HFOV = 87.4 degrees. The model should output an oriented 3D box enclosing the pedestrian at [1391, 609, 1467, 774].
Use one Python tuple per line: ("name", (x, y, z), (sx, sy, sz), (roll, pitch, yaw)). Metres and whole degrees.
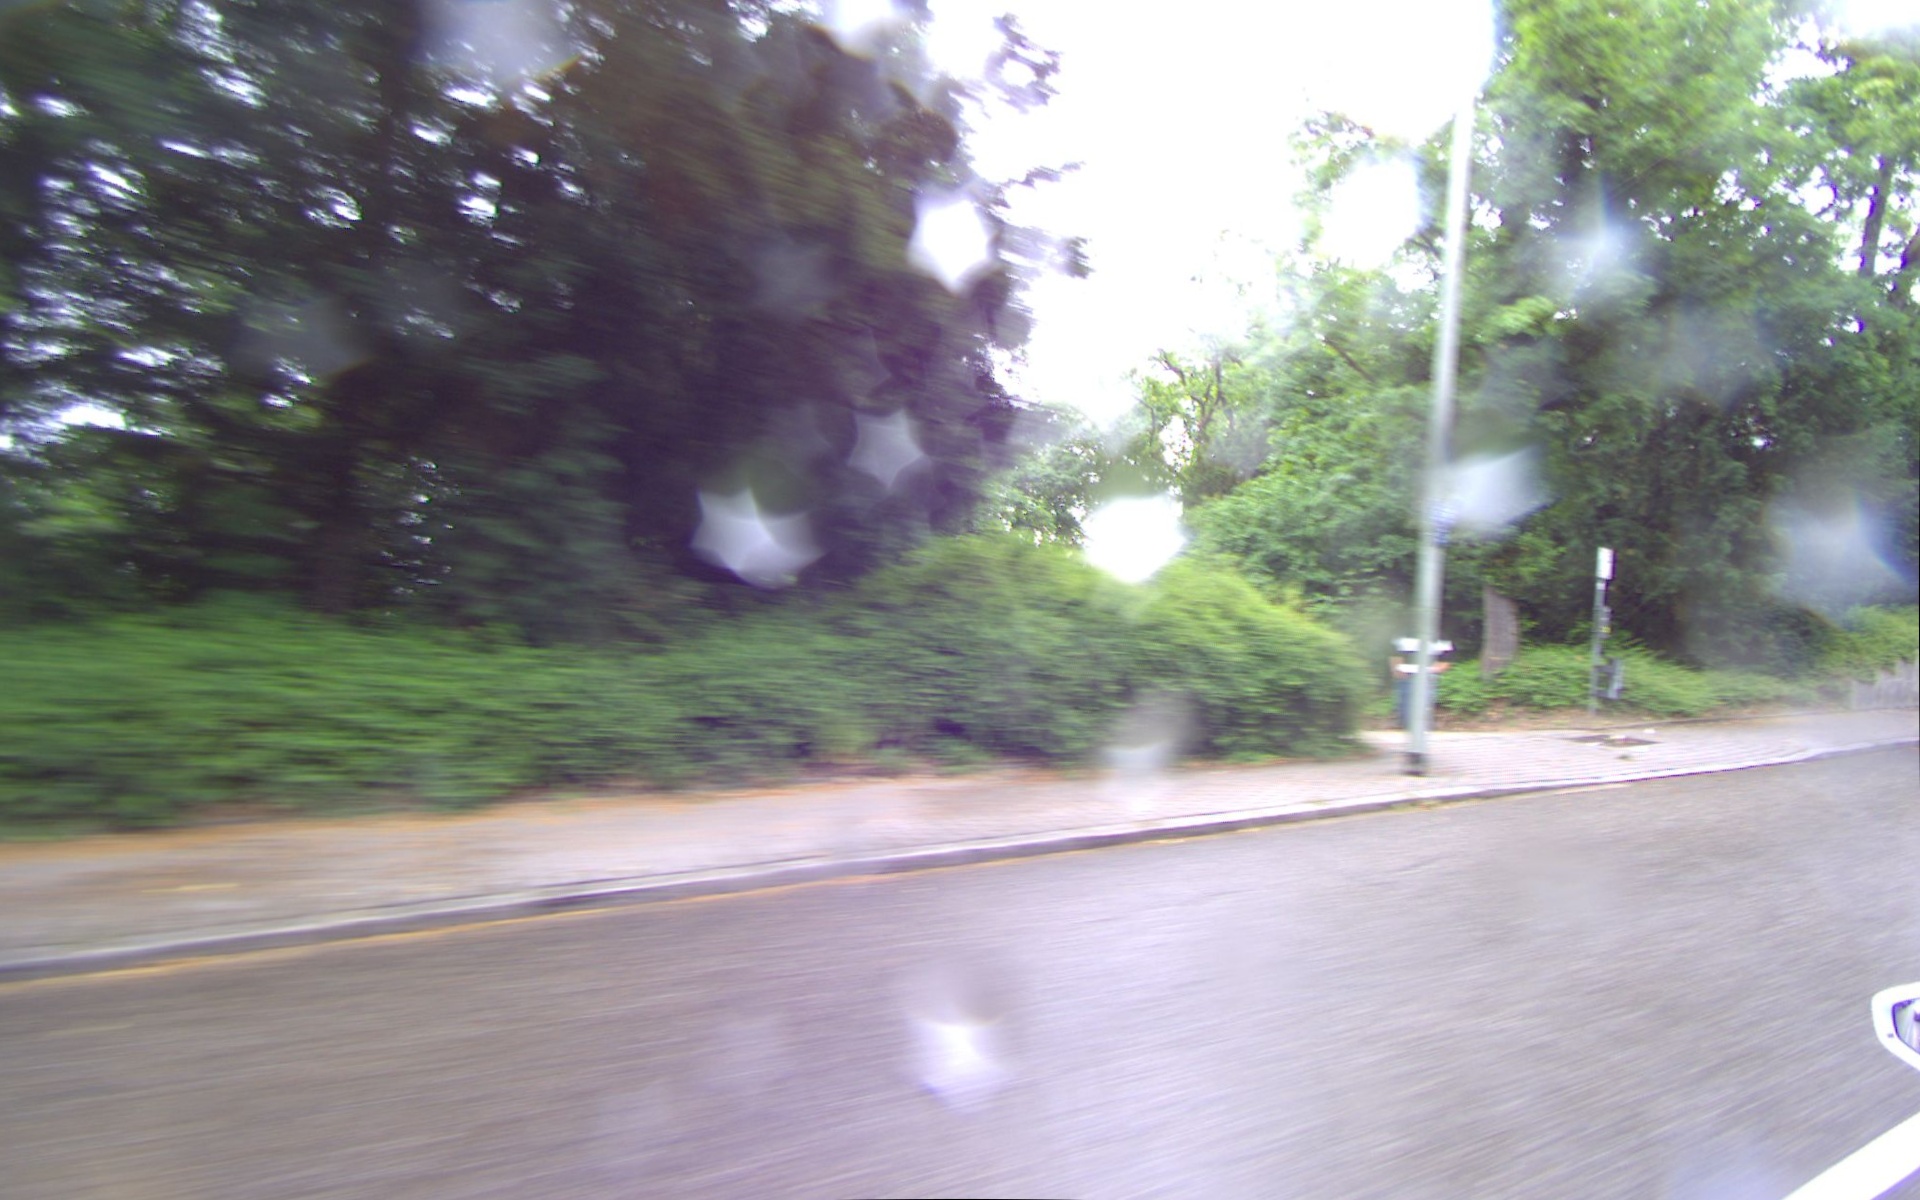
("pedestrian", (4.972, 0.940, 10.684), (0.694, 1.666, 0.713), (1, -1, 24))
